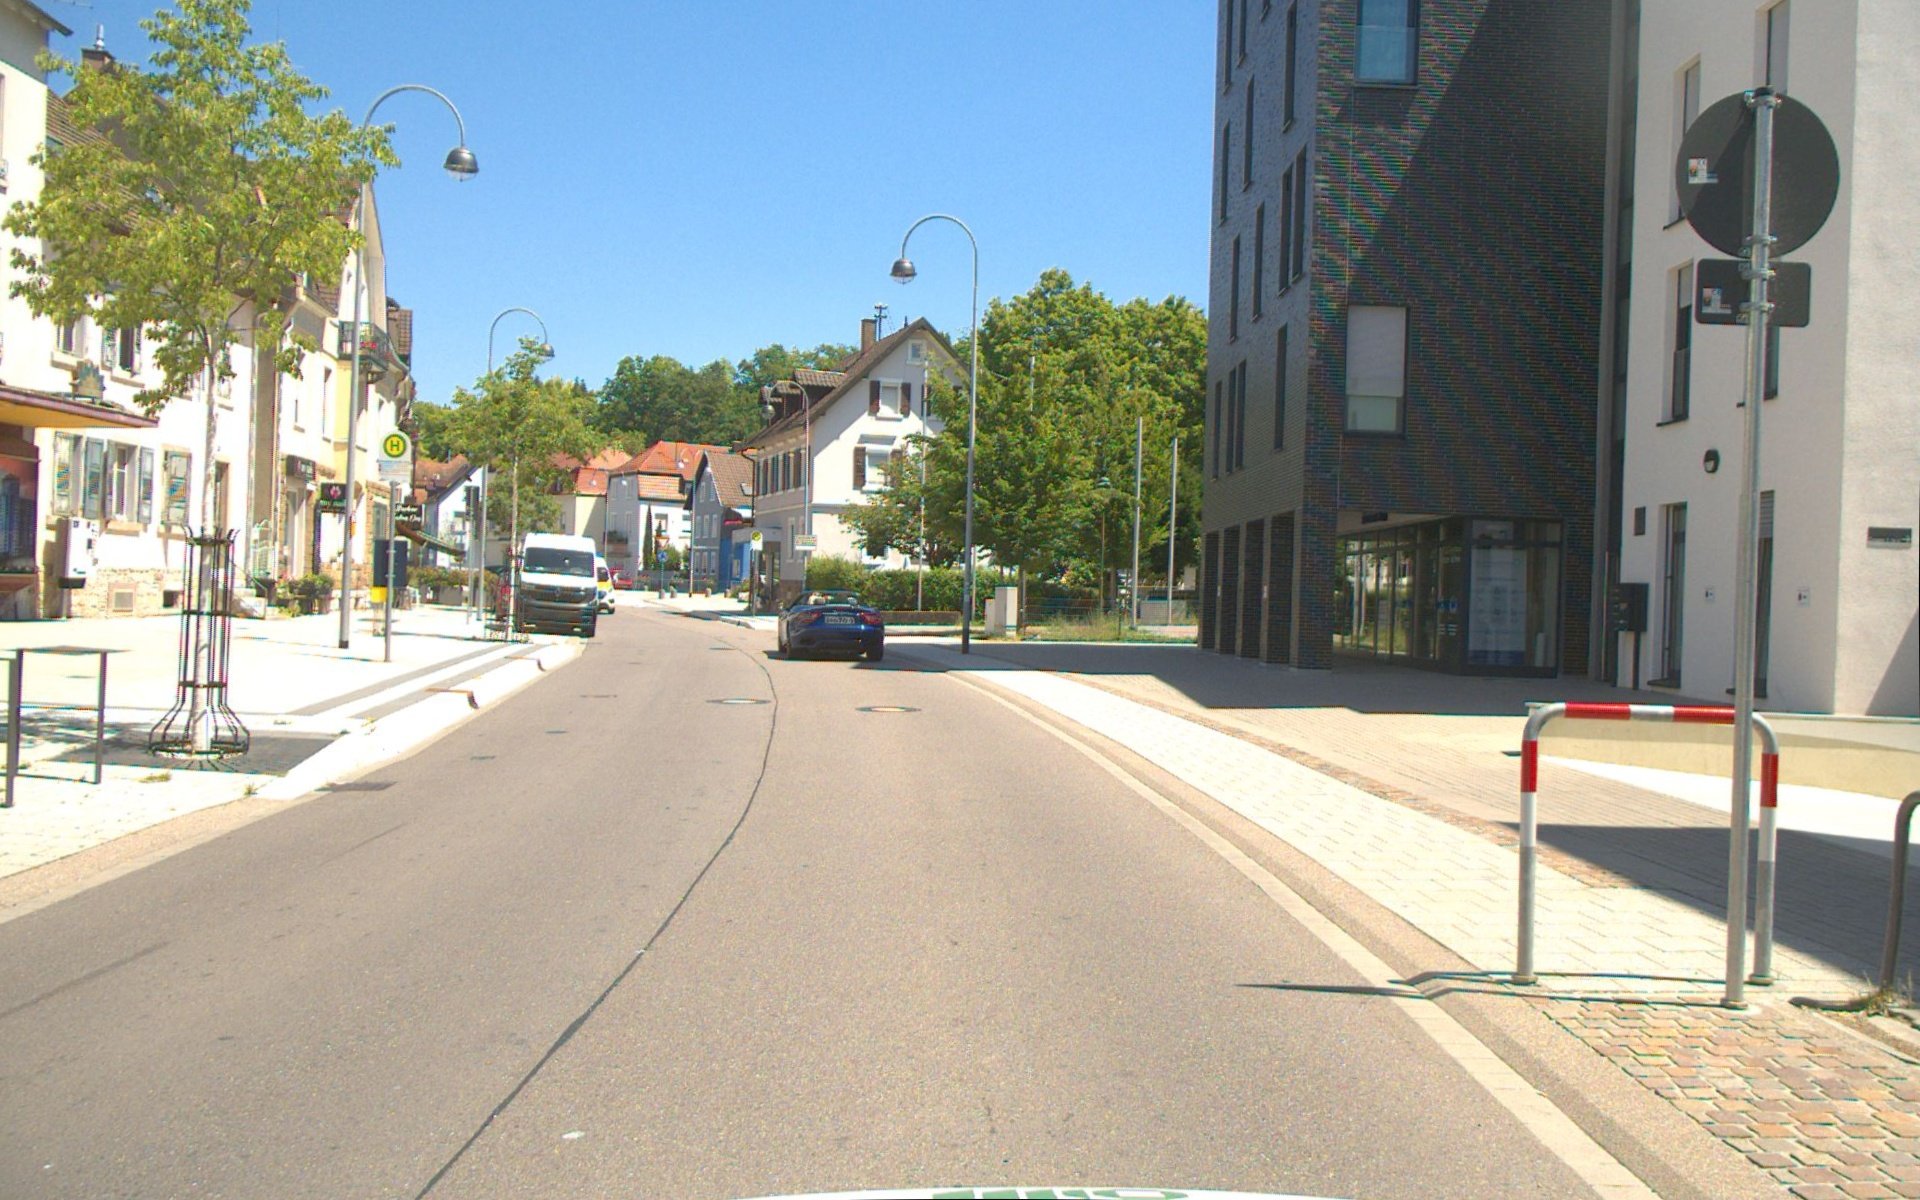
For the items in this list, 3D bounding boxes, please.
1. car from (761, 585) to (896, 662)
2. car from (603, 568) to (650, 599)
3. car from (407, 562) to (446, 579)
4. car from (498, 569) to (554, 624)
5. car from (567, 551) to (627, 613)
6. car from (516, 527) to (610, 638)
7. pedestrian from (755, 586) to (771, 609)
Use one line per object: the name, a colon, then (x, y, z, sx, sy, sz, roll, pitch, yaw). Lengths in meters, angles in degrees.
car: (-2.715, 0.433, 33.257, 1.879, 1.384, 4.267, 1, 0, -16)
car: (-23.186, -1.170, 114.950, 1.973, 2.049, 3.960, 2, 0, -30)
car: (-51.048, -2.799, 158.263, 3.930, 1.616, 1.844, 1, 1, 43)
car: (-13.173, -0.101, 50.301, 1.533, 1.547, 3.503, 2, 0, -14)
car: (-14.954, -0.743, 67.990, 2.121, 2.403, 5.225, 0, 1, -16)
car: (-10.199, -0.453, 42.261, 2.057, 2.541, 5.482, 3, 0, -15)
pedestrian: (-8.707, -0.099, 73.153, 0.581, 1.017, 0.720, 0, 1, -19)
